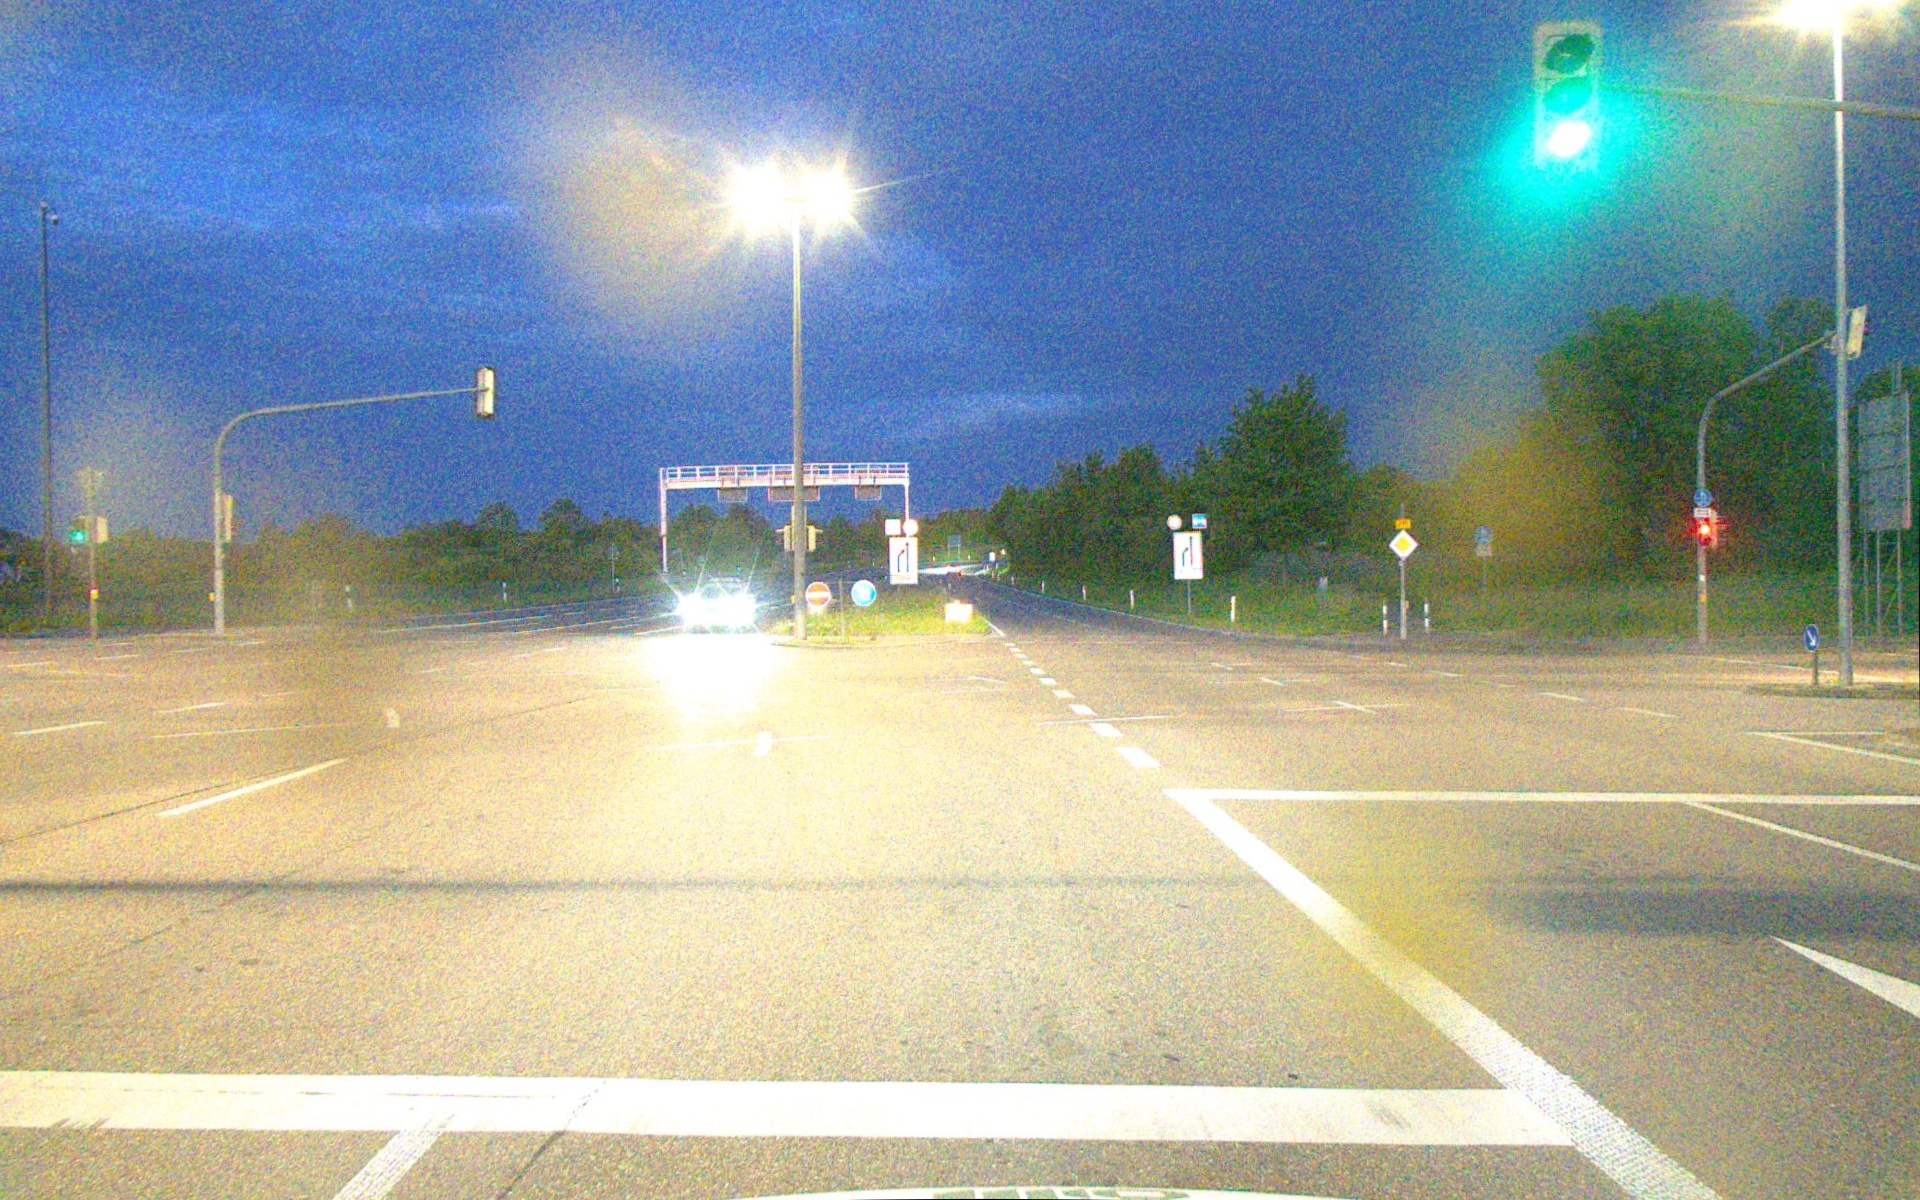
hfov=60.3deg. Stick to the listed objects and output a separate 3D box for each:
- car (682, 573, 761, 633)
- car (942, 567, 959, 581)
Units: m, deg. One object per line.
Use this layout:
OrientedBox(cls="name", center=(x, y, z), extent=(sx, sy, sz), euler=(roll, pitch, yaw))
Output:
OrientedBox(cls="car", center=(-7.227, 0.061, 50.514), extent=(1.953, 1.728, 3.999), euler=(0, 1, -2))
OrientedBox(cls="car", center=(-1.133, -3.148, 199.681), extent=(1.966, 1.639, 3.846), euler=(0, -1, 1))
